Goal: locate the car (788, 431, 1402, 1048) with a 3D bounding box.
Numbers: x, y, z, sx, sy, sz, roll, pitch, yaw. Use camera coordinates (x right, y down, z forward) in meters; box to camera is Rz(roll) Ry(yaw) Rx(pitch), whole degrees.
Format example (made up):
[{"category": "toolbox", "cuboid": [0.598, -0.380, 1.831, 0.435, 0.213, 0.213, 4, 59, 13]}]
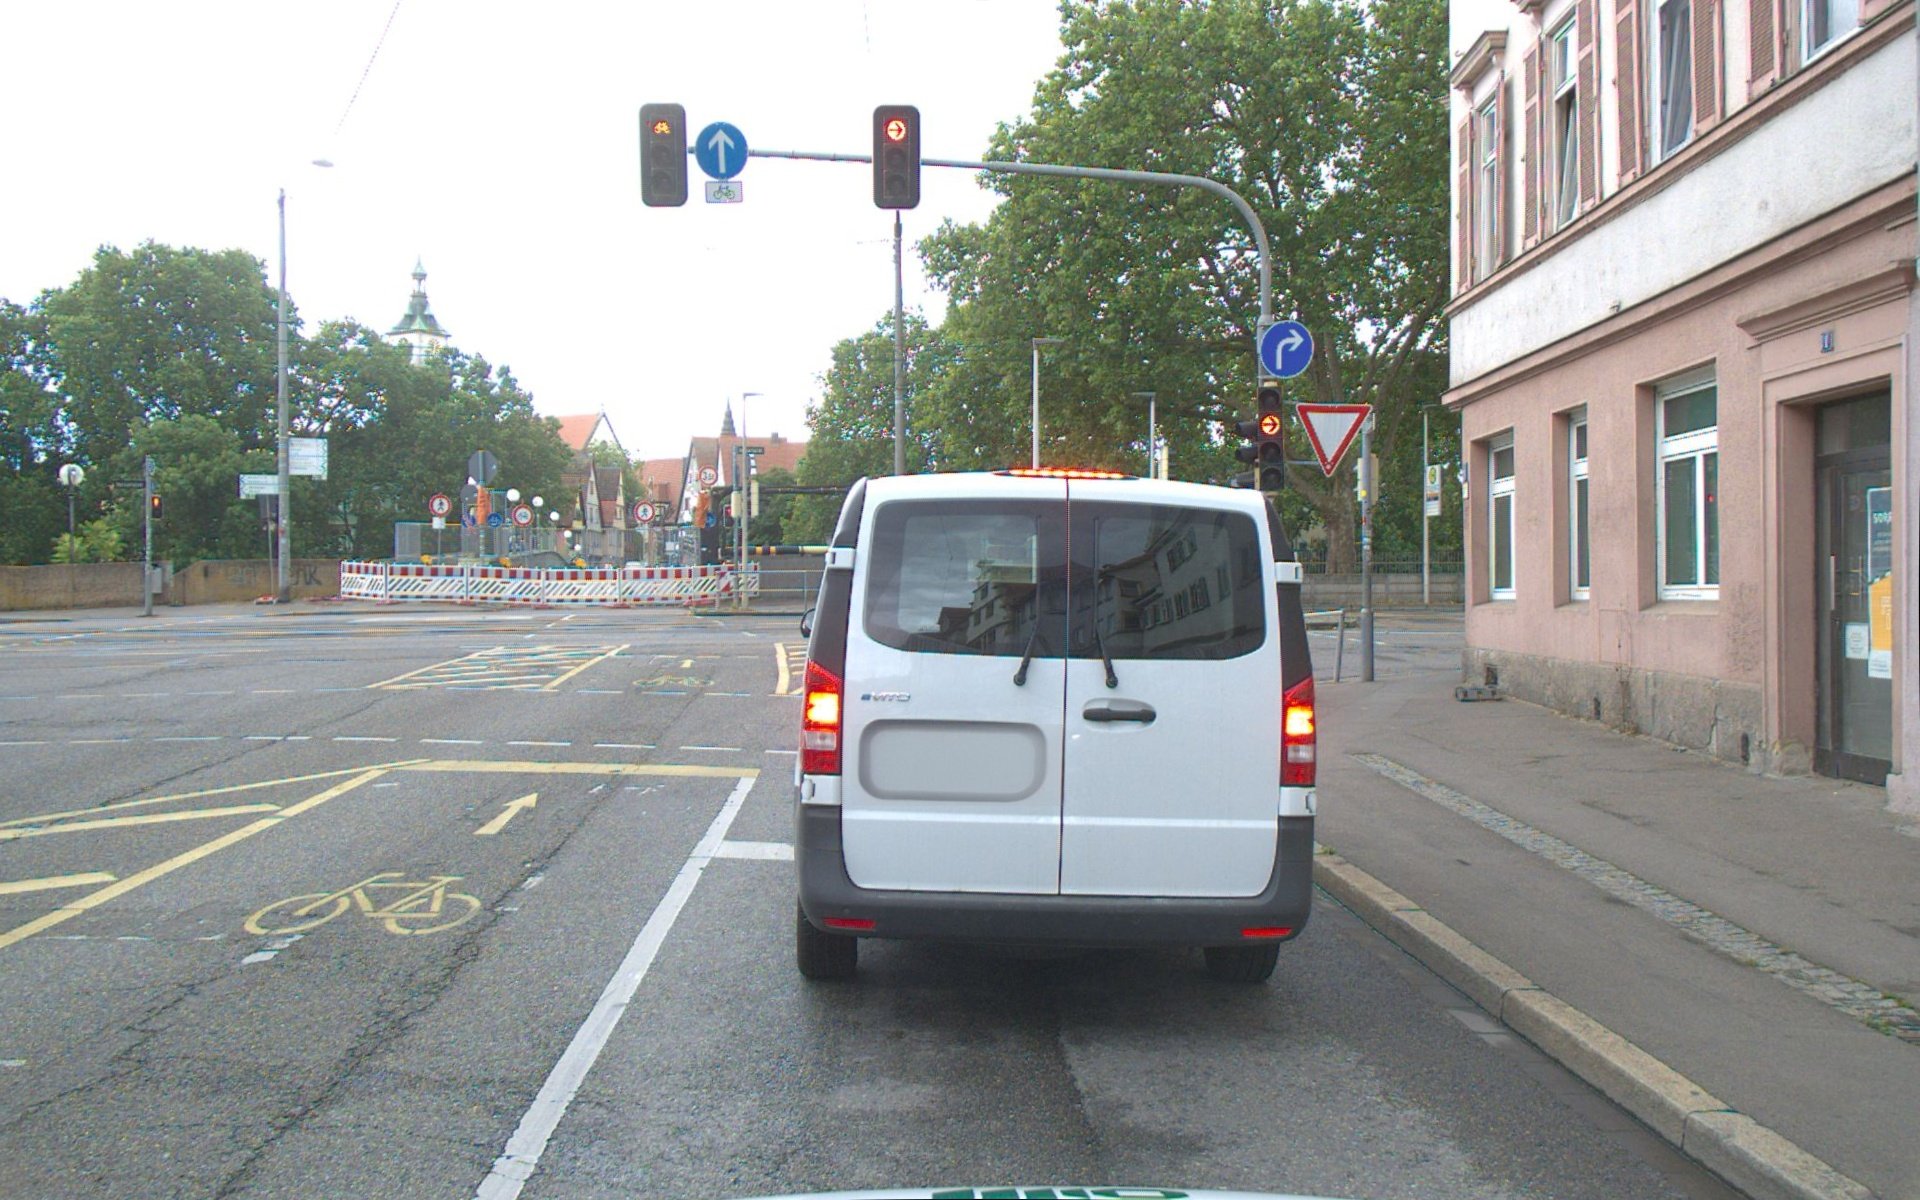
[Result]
[{"category": "car", "cuboid": [0.301, 0.379, 7.422, 1.954, 1.956, 4.246, 1, 2, -4]}]
